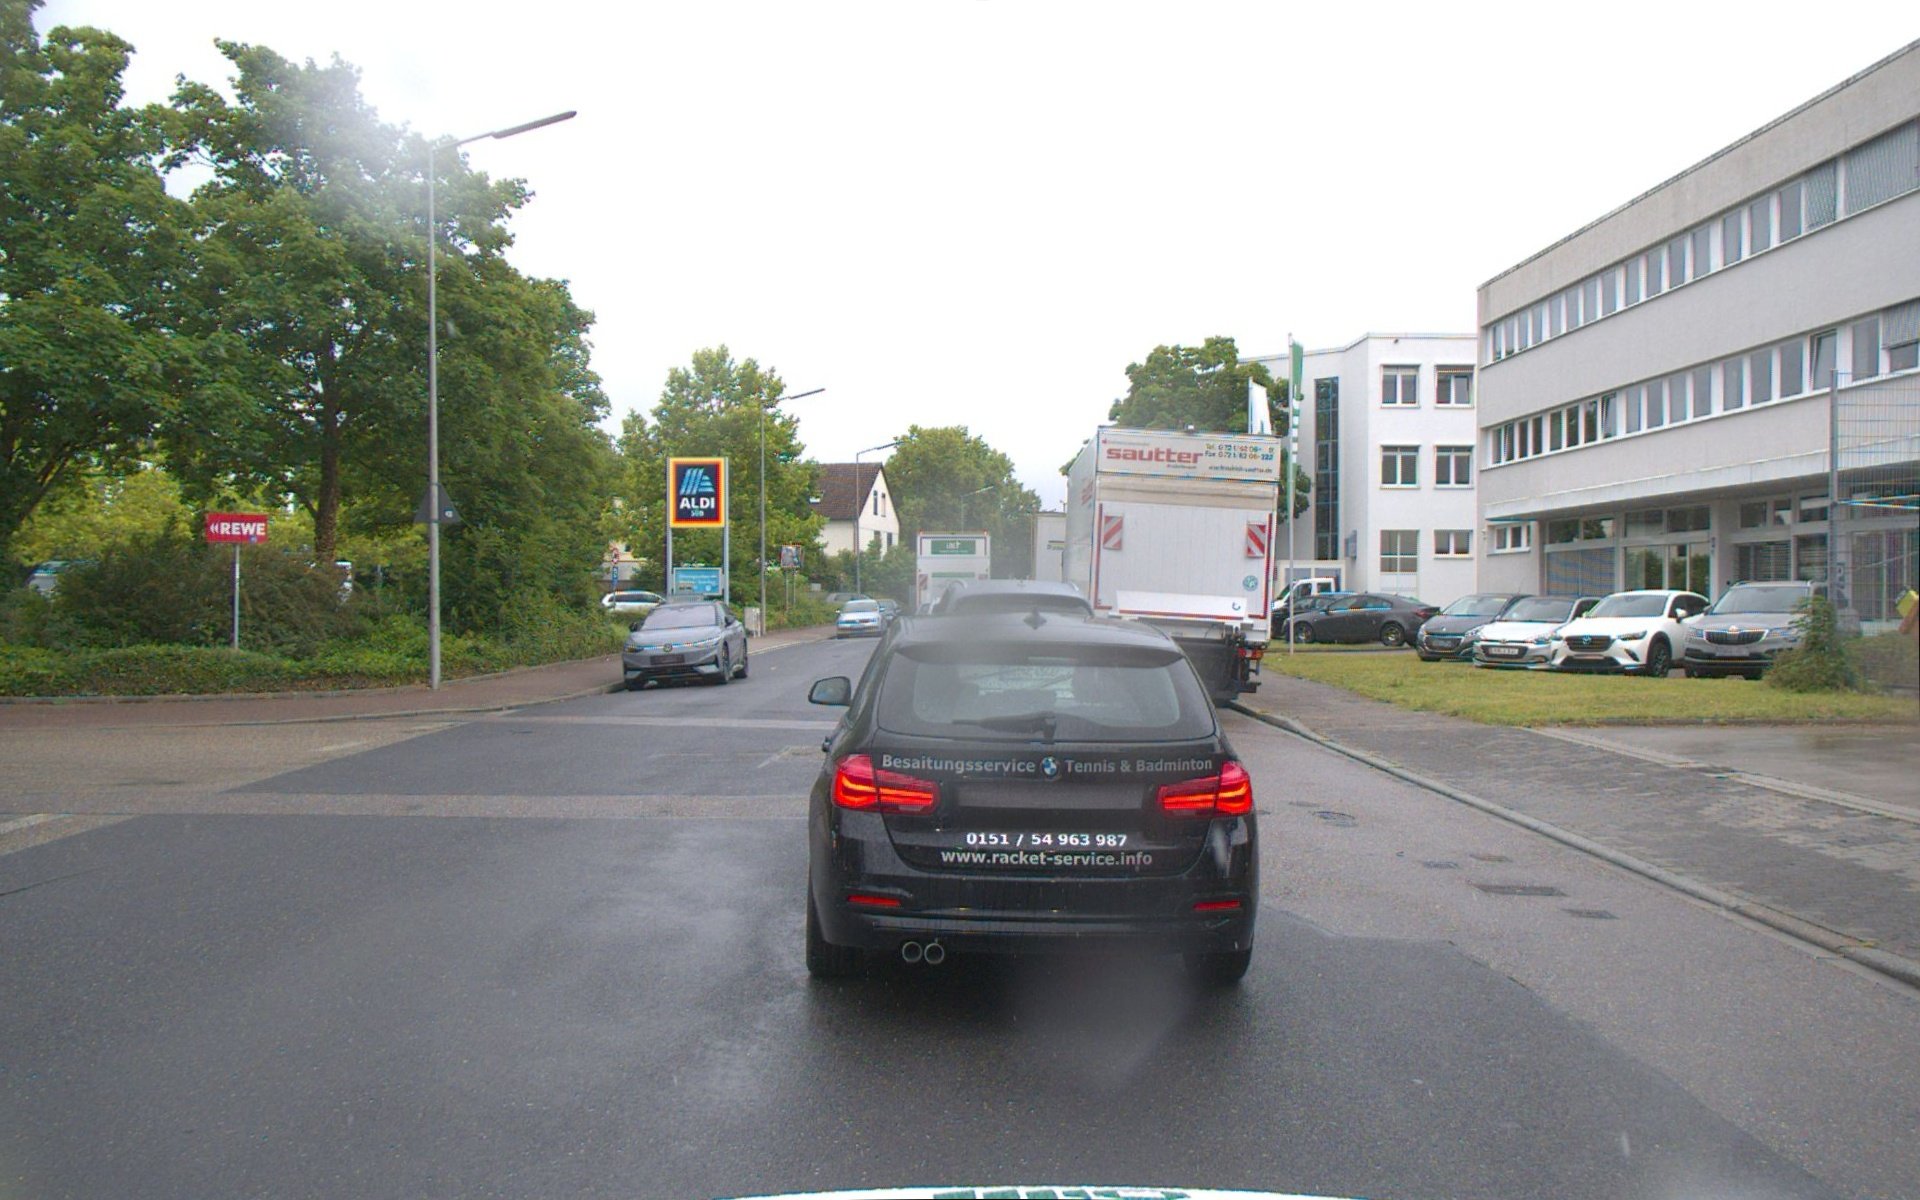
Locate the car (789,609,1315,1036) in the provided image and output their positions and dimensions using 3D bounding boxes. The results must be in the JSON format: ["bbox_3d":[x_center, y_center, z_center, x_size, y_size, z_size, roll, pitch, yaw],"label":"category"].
[{"bbox_3d":[0.254,0.767,7.583,1.768,1.419,3.998,1,0,-2],"label":"car"}]

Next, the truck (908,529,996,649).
[{"bbox_3d":[-0.151,-0.470,50.844,2.293,3.313,7.754,3,2,2],"label":"truck"}]

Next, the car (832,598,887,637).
[{"bbox_3d":[-3.877,0.646,64.522,1.670,1.391,4.602,-2,0,2],"label":"car"}]

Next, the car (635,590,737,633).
[{"bbox_3d":[-10.357,0.436,62.577,3.496,1.485,1.713,2,0,1],"label":"car"}]

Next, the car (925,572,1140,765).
[{"bbox_3d":[0.579,0.592,16.076,1.768,1.614,3.998,1,0,-2],"label":"car"}]

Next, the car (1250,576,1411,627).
[{"bbox_3d":[15.636,0.067,69.913,6.327,2.049,1.998,1,-1,-5],"label":"car"}]

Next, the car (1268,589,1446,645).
[{"bbox_3d":[11.115,0.460,46.474,4.586,1.493,1.783,0,0,38],"label":"car"}]

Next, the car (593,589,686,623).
[{"bbox_3d":[-14.686,0.274,75.917,3.905,1.567,1.911,0,0,1],"label":"car"}]

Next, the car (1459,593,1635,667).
[{"bbox_3d":[11.325,0.531,31.773,1.678,1.309,3.971,0,0,45],"label":"car"}]

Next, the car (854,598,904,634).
[{"bbox_3d":[-3.431,0.654,70.457,1.670,1.391,3.840,-2,0,3],"label":"car"}]

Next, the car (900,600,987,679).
[{"bbox_3d":[-0.400,0.818,35.768,1.768,1.579,3.998,1,0,-2],"label":"car"}]

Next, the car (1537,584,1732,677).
[{"bbox_3d":[11.696,0.479,28.564,1.746,1.496,3.971,0,0,45],"label":"car"}]

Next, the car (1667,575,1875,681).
[{"bbox_3d":[12.957,0.403,26.317,1.842,1.554,3.972,0,0,44],"label":"car"}]

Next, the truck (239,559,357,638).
[{"bbox_3d":[-24.838,-0.062,62.339,1.953,2.801,6.466,0,0,-1],"label":"truck"}]

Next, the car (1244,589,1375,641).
[{"bbox_3d":[11.202,0.459,53.081,3.712,1.421,1.718,4,3,40],"label":"car"}]

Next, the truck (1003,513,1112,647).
[{"bbox_3d":[2.833,-0.575,50.333,2.685,3.674,7.749,2,0,0],"label":"truck"}]

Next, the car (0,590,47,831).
[{"bbox_3d":[-7.863,0.705,10.379,3.907,1.466,1.735,-1,0,24],"label":"car"}]

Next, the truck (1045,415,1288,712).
[{"bbox_3d":[3.002,-0.496,26.790,2.685,3.855,9.299,2,0,0],"label":"truck"}]

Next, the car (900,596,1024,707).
[{"bbox_3d":[-0.031,0.750,25.828,1.768,1.579,3.998,1,0,-2],"label":"car"}]

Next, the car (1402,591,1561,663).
[{"bbox_3d":[11.012,0.527,34.819,1.678,1.417,3.741,0,0,45],"label":"car"}]

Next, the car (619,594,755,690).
[{"bbox_3d":[-5.071,0.743,31.322,1.772,1.555,4.747,-4,0,-1],"label":"car"}]
